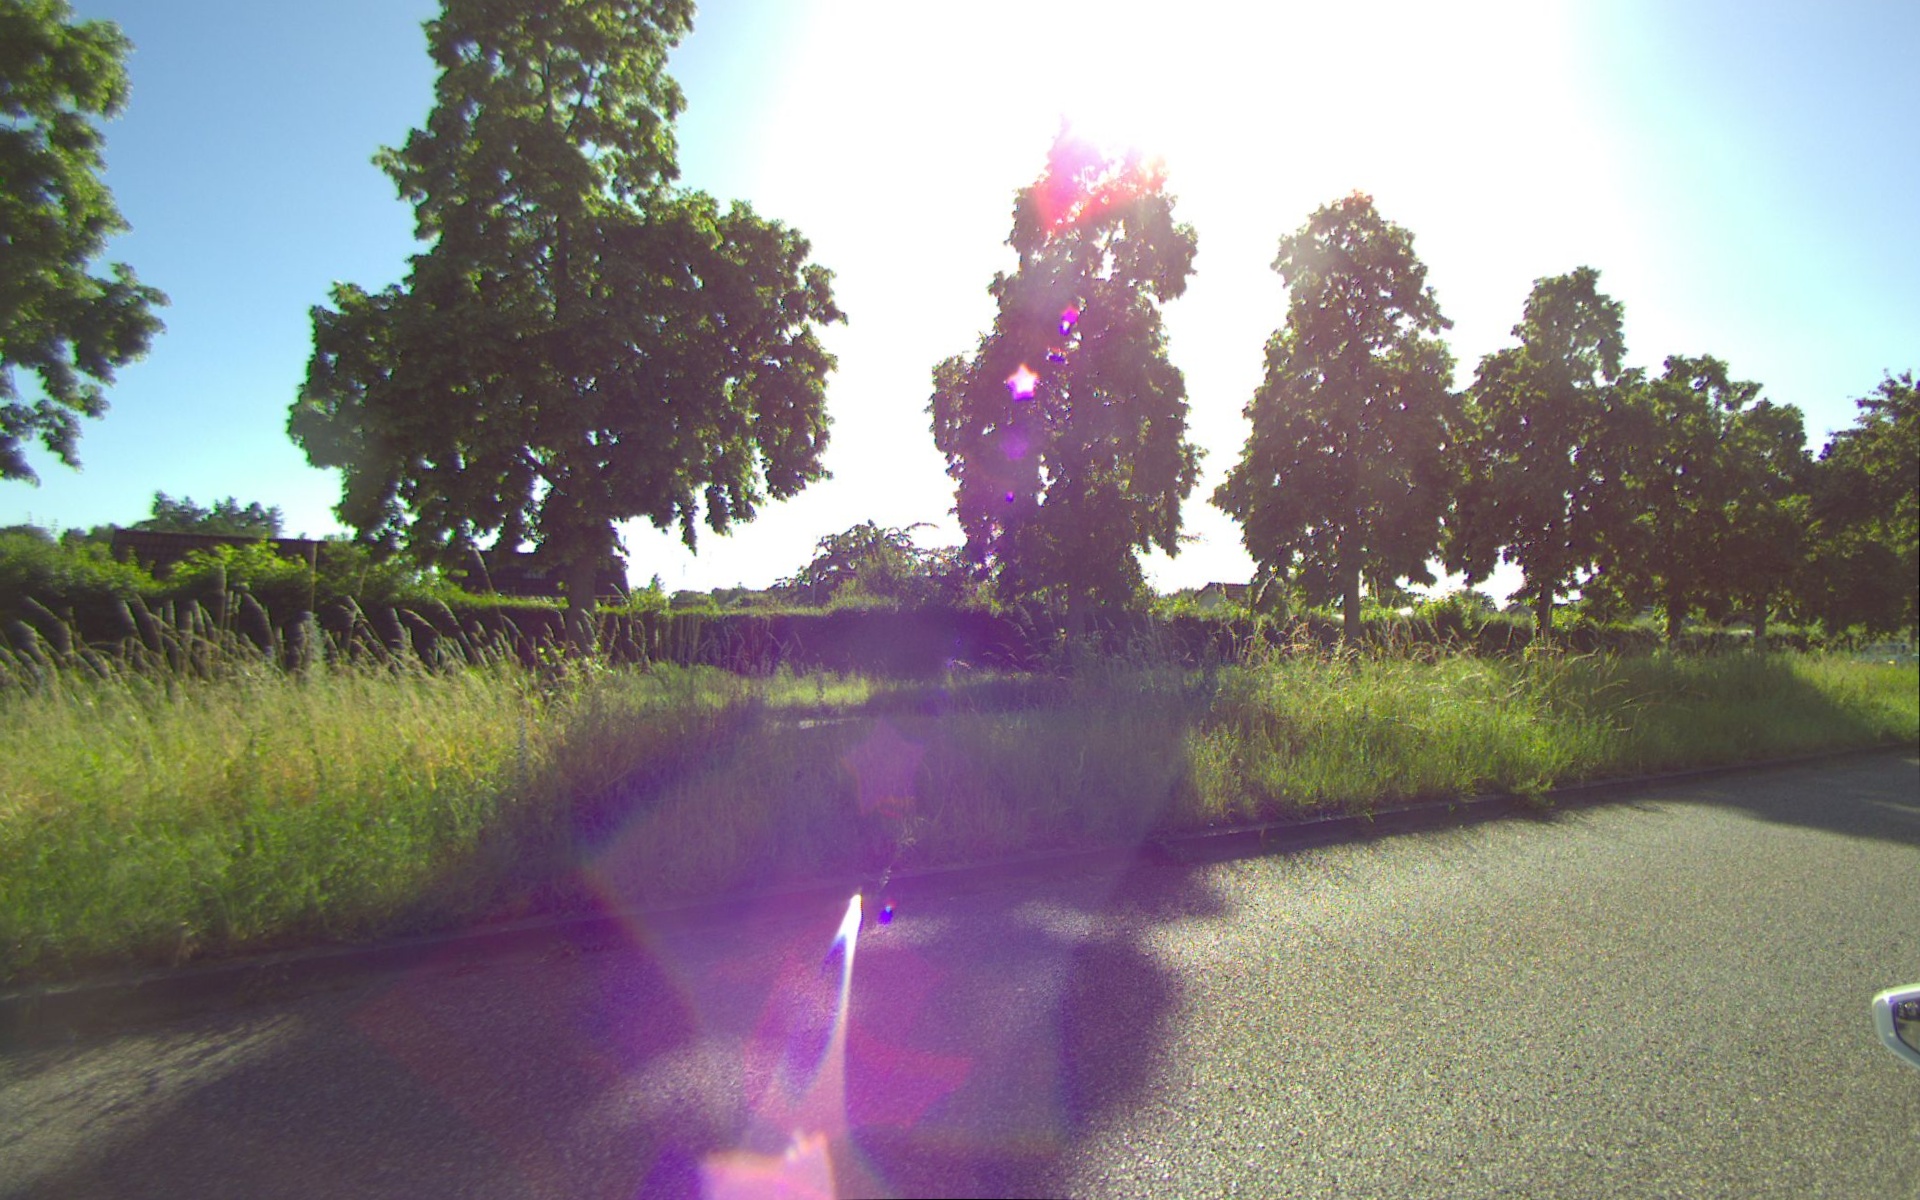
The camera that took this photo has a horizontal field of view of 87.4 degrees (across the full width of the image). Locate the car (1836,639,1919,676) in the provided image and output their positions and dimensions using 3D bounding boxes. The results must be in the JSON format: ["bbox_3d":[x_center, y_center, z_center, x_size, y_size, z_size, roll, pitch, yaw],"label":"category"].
[{"bbox_3d":[38.550,2.408,42.077,4.133,1.486,1.661,1,-4,-32],"label":"car"}]
